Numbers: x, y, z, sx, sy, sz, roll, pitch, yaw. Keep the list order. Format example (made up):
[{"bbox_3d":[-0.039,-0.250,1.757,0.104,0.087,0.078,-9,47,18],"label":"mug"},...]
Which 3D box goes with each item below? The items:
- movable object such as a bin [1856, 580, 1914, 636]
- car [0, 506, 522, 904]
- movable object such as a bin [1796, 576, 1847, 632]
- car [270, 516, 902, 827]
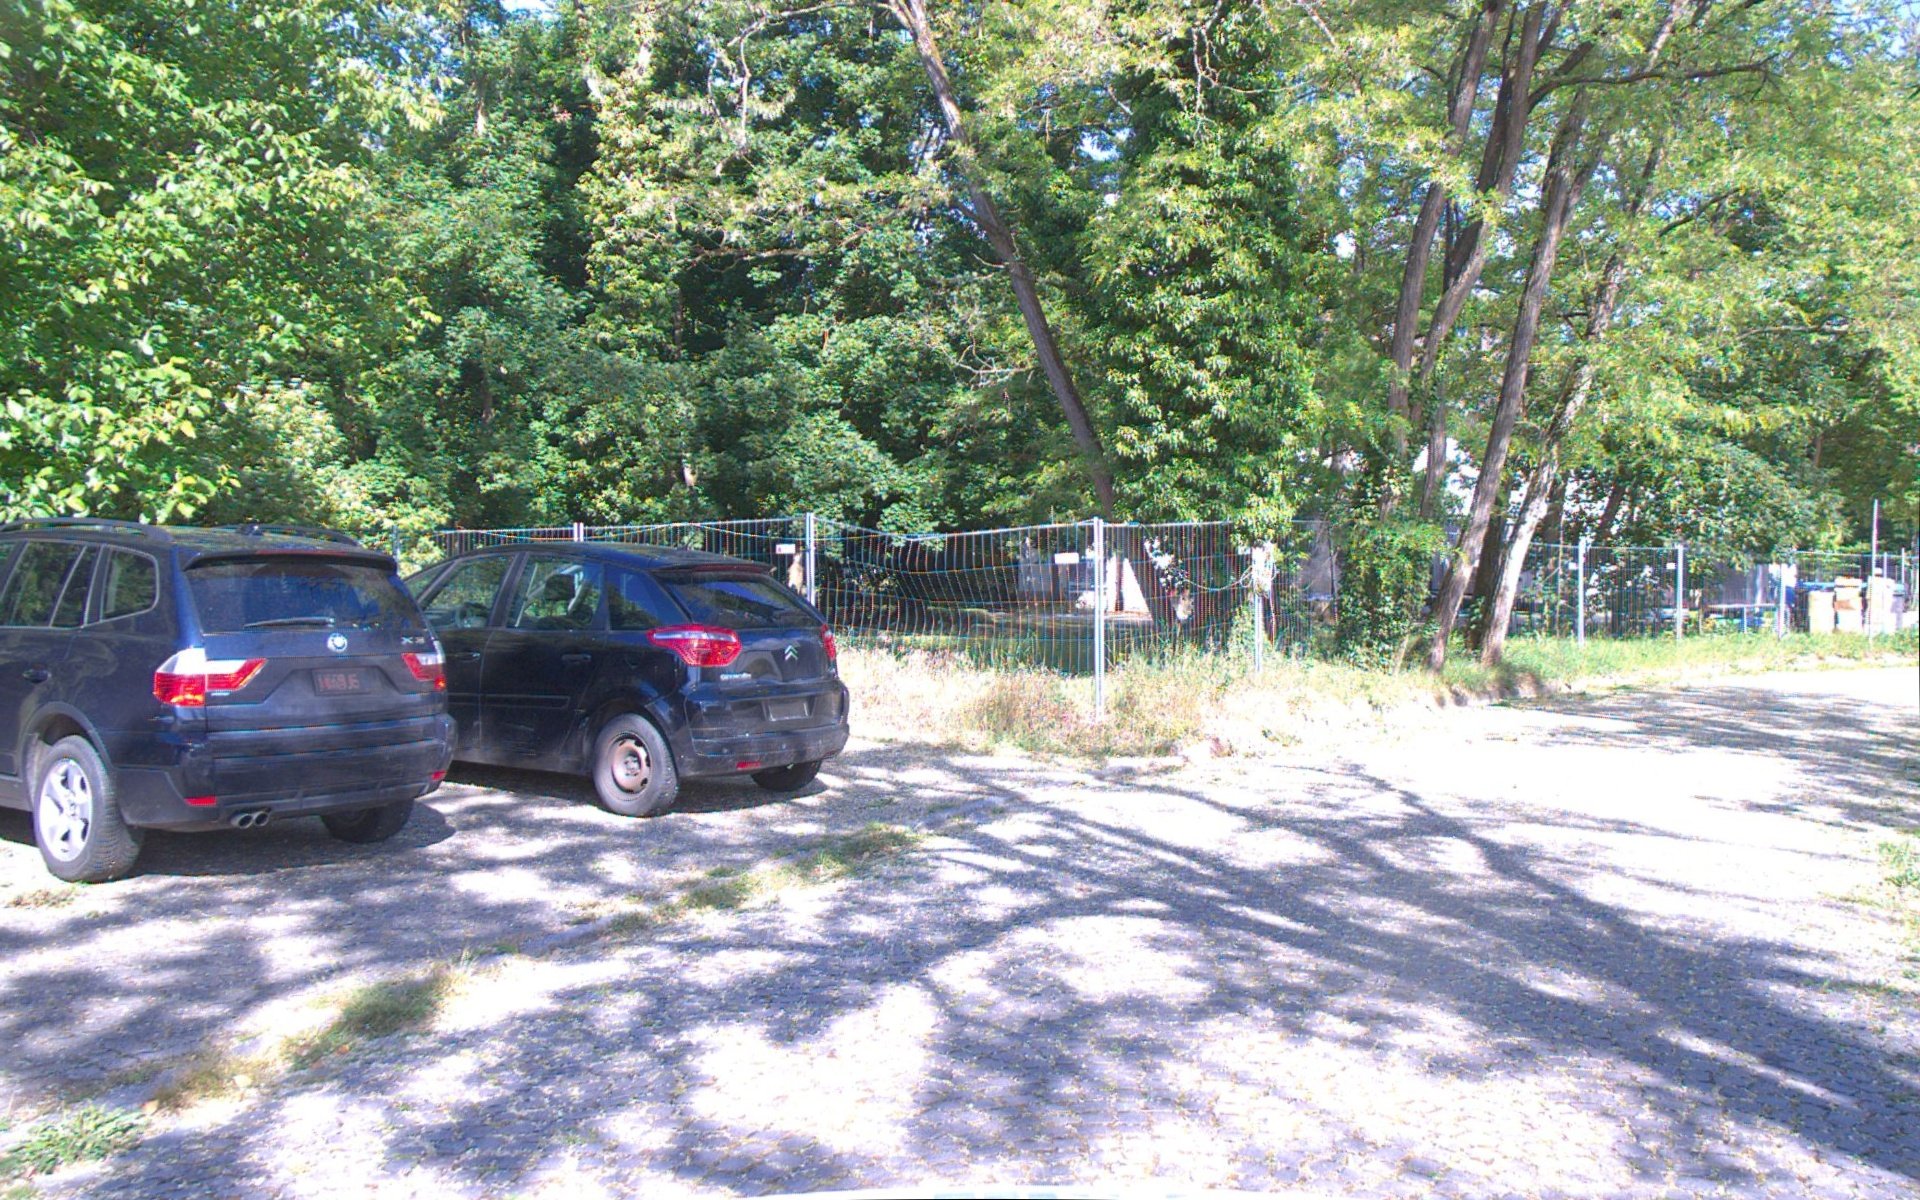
[{"bbox_3d":[24.068,0.200,43.052,1.264,1.451,1.030,0,0,33],"label":"movable object such as a bin"},{"bbox_3d":[-4.576,0.356,9.050,4.185,1.659,1.875,4,2,33],"label":"car"},{"bbox_3d":[22.796,0.093,43.758,1.066,1.463,1.051,0,0,37],"label":"movable object such as a bin"},{"bbox_3d":[-2.676,0.355,11.556,4.183,1.616,1.826,5,3,31],"label":"car"}]
